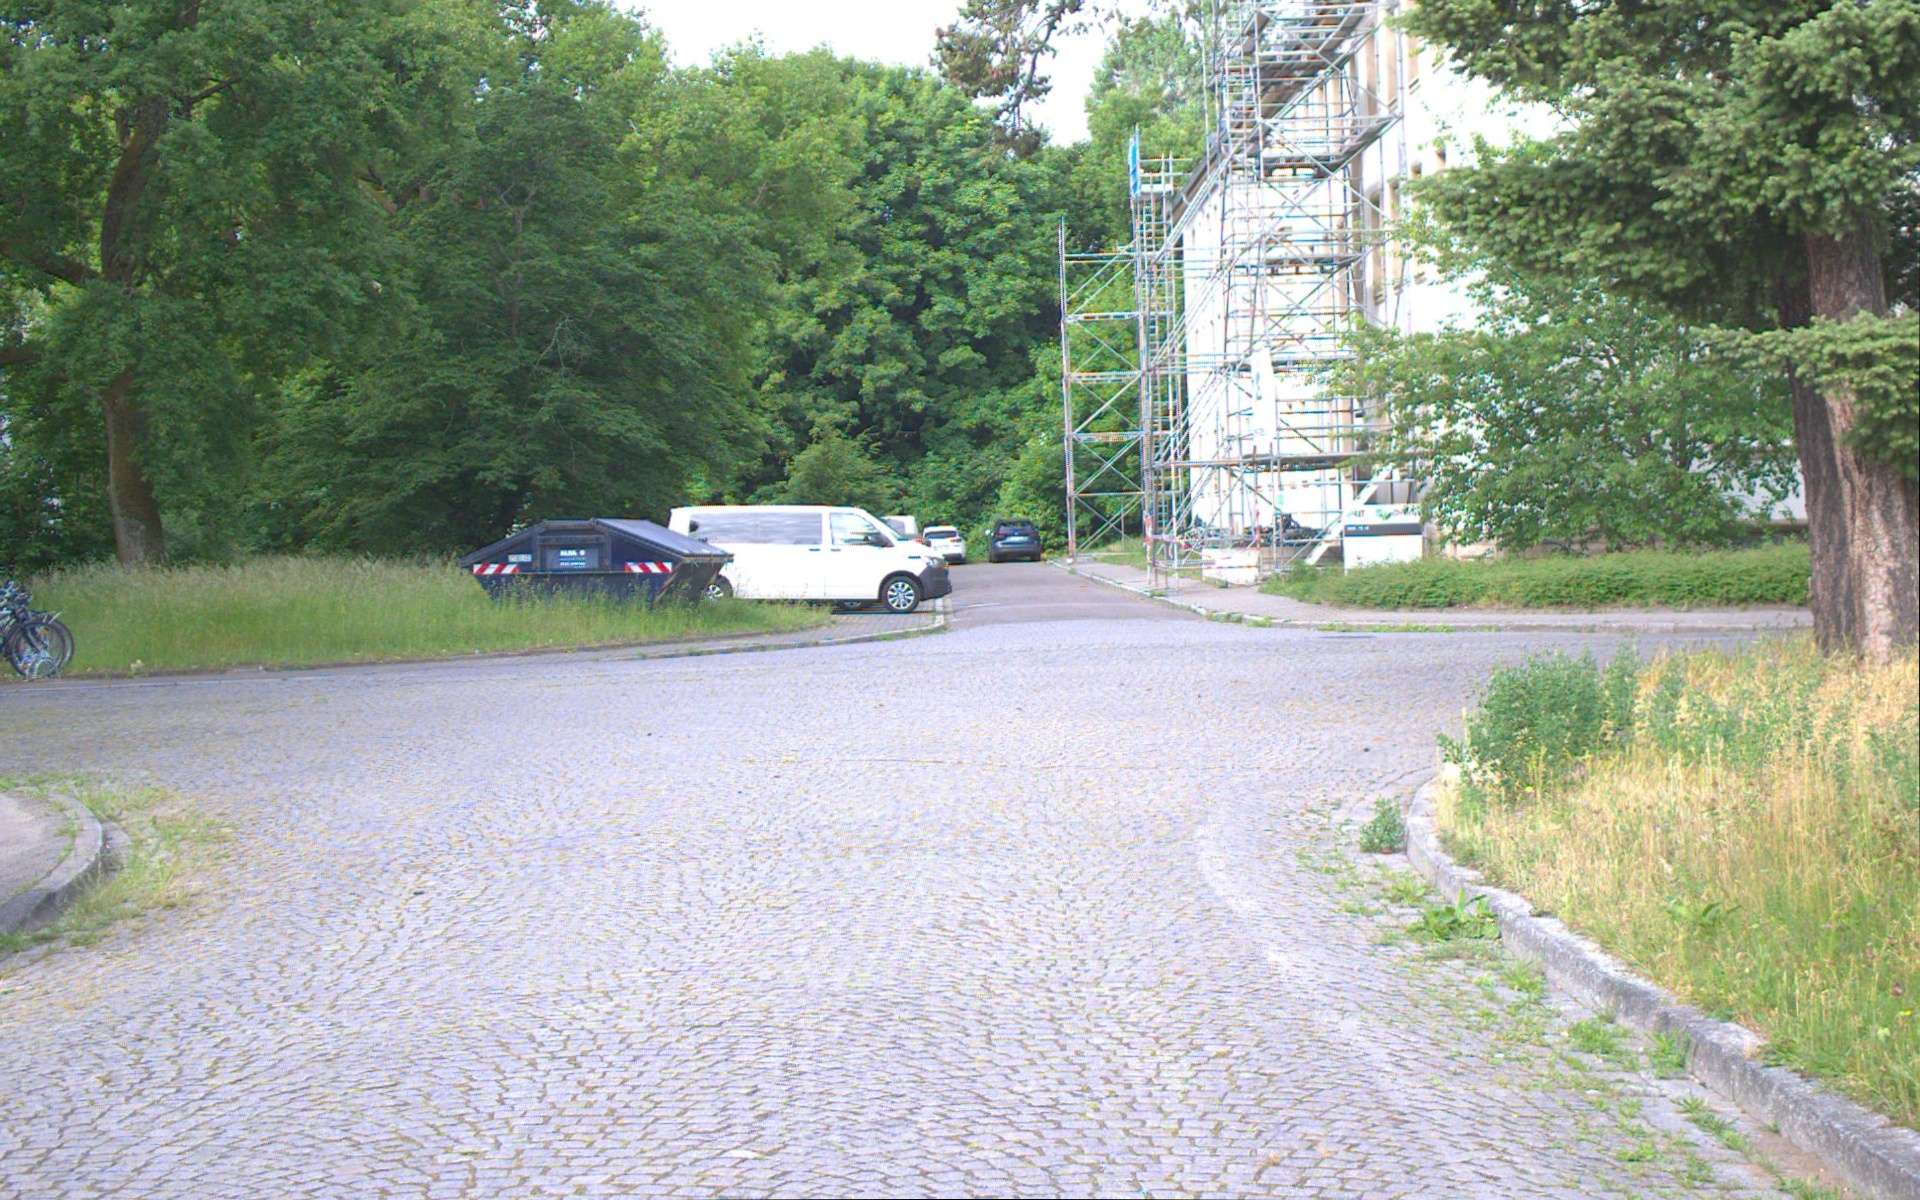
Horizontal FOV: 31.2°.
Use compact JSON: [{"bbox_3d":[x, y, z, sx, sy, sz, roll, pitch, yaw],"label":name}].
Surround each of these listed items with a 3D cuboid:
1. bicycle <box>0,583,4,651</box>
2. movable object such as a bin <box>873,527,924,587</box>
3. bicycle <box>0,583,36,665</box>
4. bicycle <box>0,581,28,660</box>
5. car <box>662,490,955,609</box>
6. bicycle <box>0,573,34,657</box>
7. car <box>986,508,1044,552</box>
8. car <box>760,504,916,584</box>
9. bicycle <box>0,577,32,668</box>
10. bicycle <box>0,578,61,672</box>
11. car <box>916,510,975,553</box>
[{"bbox_3d":[-14.266,0.217,48.126,1.616,1.055,0.527,-4,4,-19],"label":"bicycle"},{"bbox_3d":[-1.463,-1.013,81.833,1.183,1.402,0.975,1,0,1],"label":"movable object such as a bin"},{"bbox_3d":[-12.929,0.347,44.658,1.691,0.998,0.632,-4,4,-19],"label":"bicycle"},{"bbox_3d":[-13.362,0.316,45.379,1.953,1.001,0.687,-4,4,-19],"label":"bicycle"},{"bbox_3d":[-2.711,-0.914,62.268,5.200,2.053,2.188,-1,1,-1],"label":"car"},{"bbox_3d":[-13.664,0.241,47.166,1.770,1.101,0.542,-4,4,-19],"label":"bicycle"},{"bbox_3d":[2.073,-2.599,128.499,2.063,1.588,4.000,1,1,2],"label":"car"},{"bbox_3d":[-3.205,-1.447,89.879,3.986,2.007,1.922,1,0,-4],"label":"car"},{"bbox_3d":[-12.840,0.328,43.929,1.793,1.099,0.703,-4,4,-19],"label":"bicycle"},{"bbox_3d":[-12.303,0.341,43.343,1.767,1.099,0.703,-4,4,-19],"label":"bicycle"},{"bbox_3d":[-0.566,-2.531,128.240,2.001,1.542,3.959,1,1,-3],"label":"car"}]
